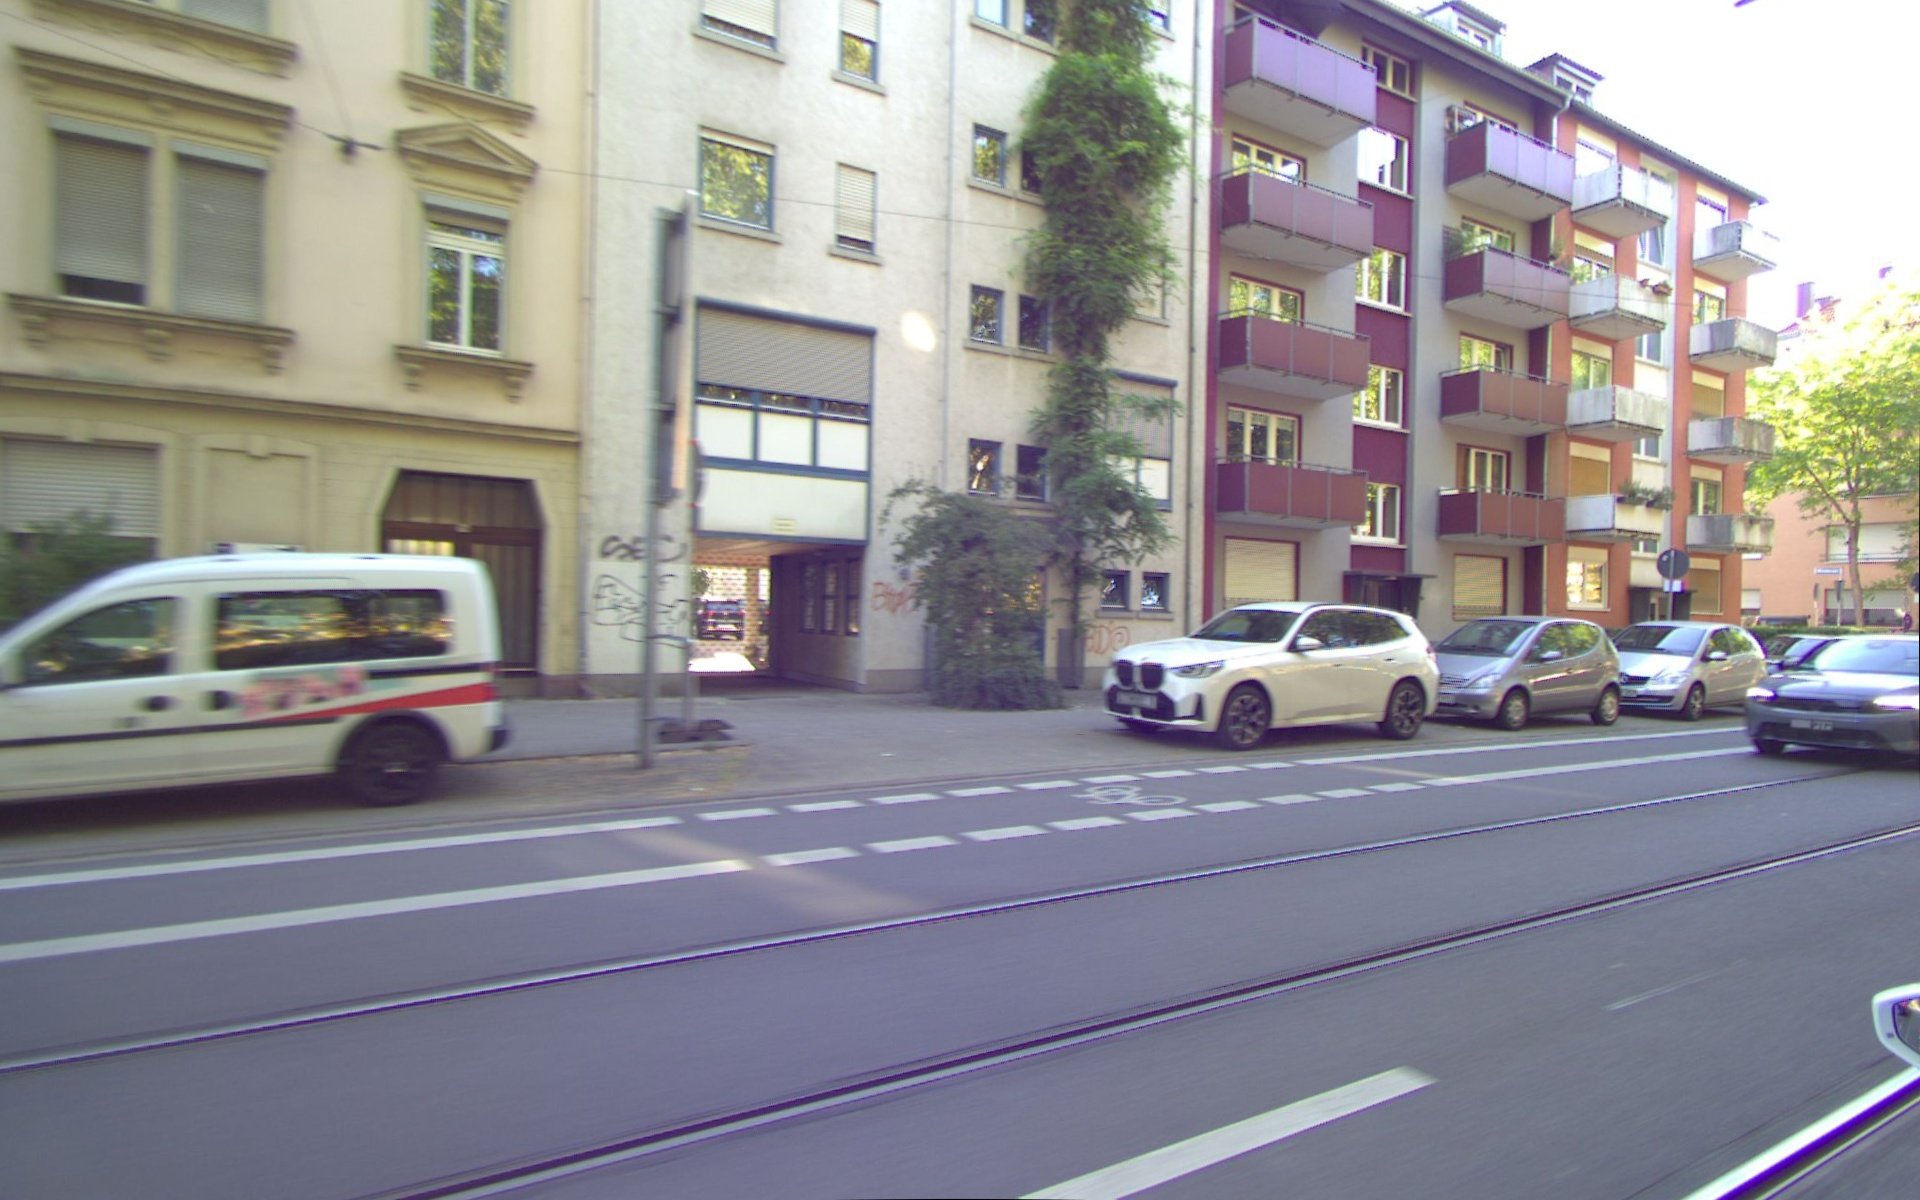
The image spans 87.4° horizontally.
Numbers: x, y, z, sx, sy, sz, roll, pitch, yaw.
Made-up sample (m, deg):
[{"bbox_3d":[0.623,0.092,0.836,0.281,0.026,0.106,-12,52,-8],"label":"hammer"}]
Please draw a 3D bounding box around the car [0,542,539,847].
[{"bbox_3d":[-5.499,0.548,7.068,4.424,1.794,1.777,1,1,-34],"label":"car"}]

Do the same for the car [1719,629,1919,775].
[{"bbox_3d":[10.977,1.084,11.897,4.005,1.465,1.787,1,-2,-30],"label":"car"}]

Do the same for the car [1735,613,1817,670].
[{"bbox_3d":[33.820,1.685,41.732,1.965,2.151,4.713,1,0,31],"label":"car"}]

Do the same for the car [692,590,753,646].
[{"bbox_3d":[-8.292,0.613,35.062,1.914,1.817,3.989,1,-1,-14],"label":"car"}]

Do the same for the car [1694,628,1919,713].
[{"bbox_3d":[17.080,1.345,20.171,4.804,1.414,1.943,1,2,-30],"label":"car"}]

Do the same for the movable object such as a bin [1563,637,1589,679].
[{"bbox_3d":[15.137,1.418,24.696,0.347,1.019,0.431,1,-1,-28],"label":"movable object such as a bin"}]

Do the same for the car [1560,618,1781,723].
[{"bbox_3d":[12.530,1.163,17.668,3.962,1.608,1.809,1,0,-33],"label":"car"}]

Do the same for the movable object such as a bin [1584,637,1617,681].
[{"bbox_3d":[15.463,1.421,24.252,0.436,1.019,0.541,1,-1,-28],"label":"movable object such as a bin"}]

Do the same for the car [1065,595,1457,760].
[{"bbox_3d":[3.839,0.869,12.531,4.827,1.670,1.942,2,1,-32],"label":"car"}]

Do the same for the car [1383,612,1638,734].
[{"bbox_3d":[8.343,1.045,15.180,3.735,1.593,1.618,2,1,-29],"label":"car"}]

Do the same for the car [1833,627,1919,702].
[{"bbox_3d":[21.720,1.428,22.826,3.886,1.503,1.716,1,2,-32],"label":"car"}]
